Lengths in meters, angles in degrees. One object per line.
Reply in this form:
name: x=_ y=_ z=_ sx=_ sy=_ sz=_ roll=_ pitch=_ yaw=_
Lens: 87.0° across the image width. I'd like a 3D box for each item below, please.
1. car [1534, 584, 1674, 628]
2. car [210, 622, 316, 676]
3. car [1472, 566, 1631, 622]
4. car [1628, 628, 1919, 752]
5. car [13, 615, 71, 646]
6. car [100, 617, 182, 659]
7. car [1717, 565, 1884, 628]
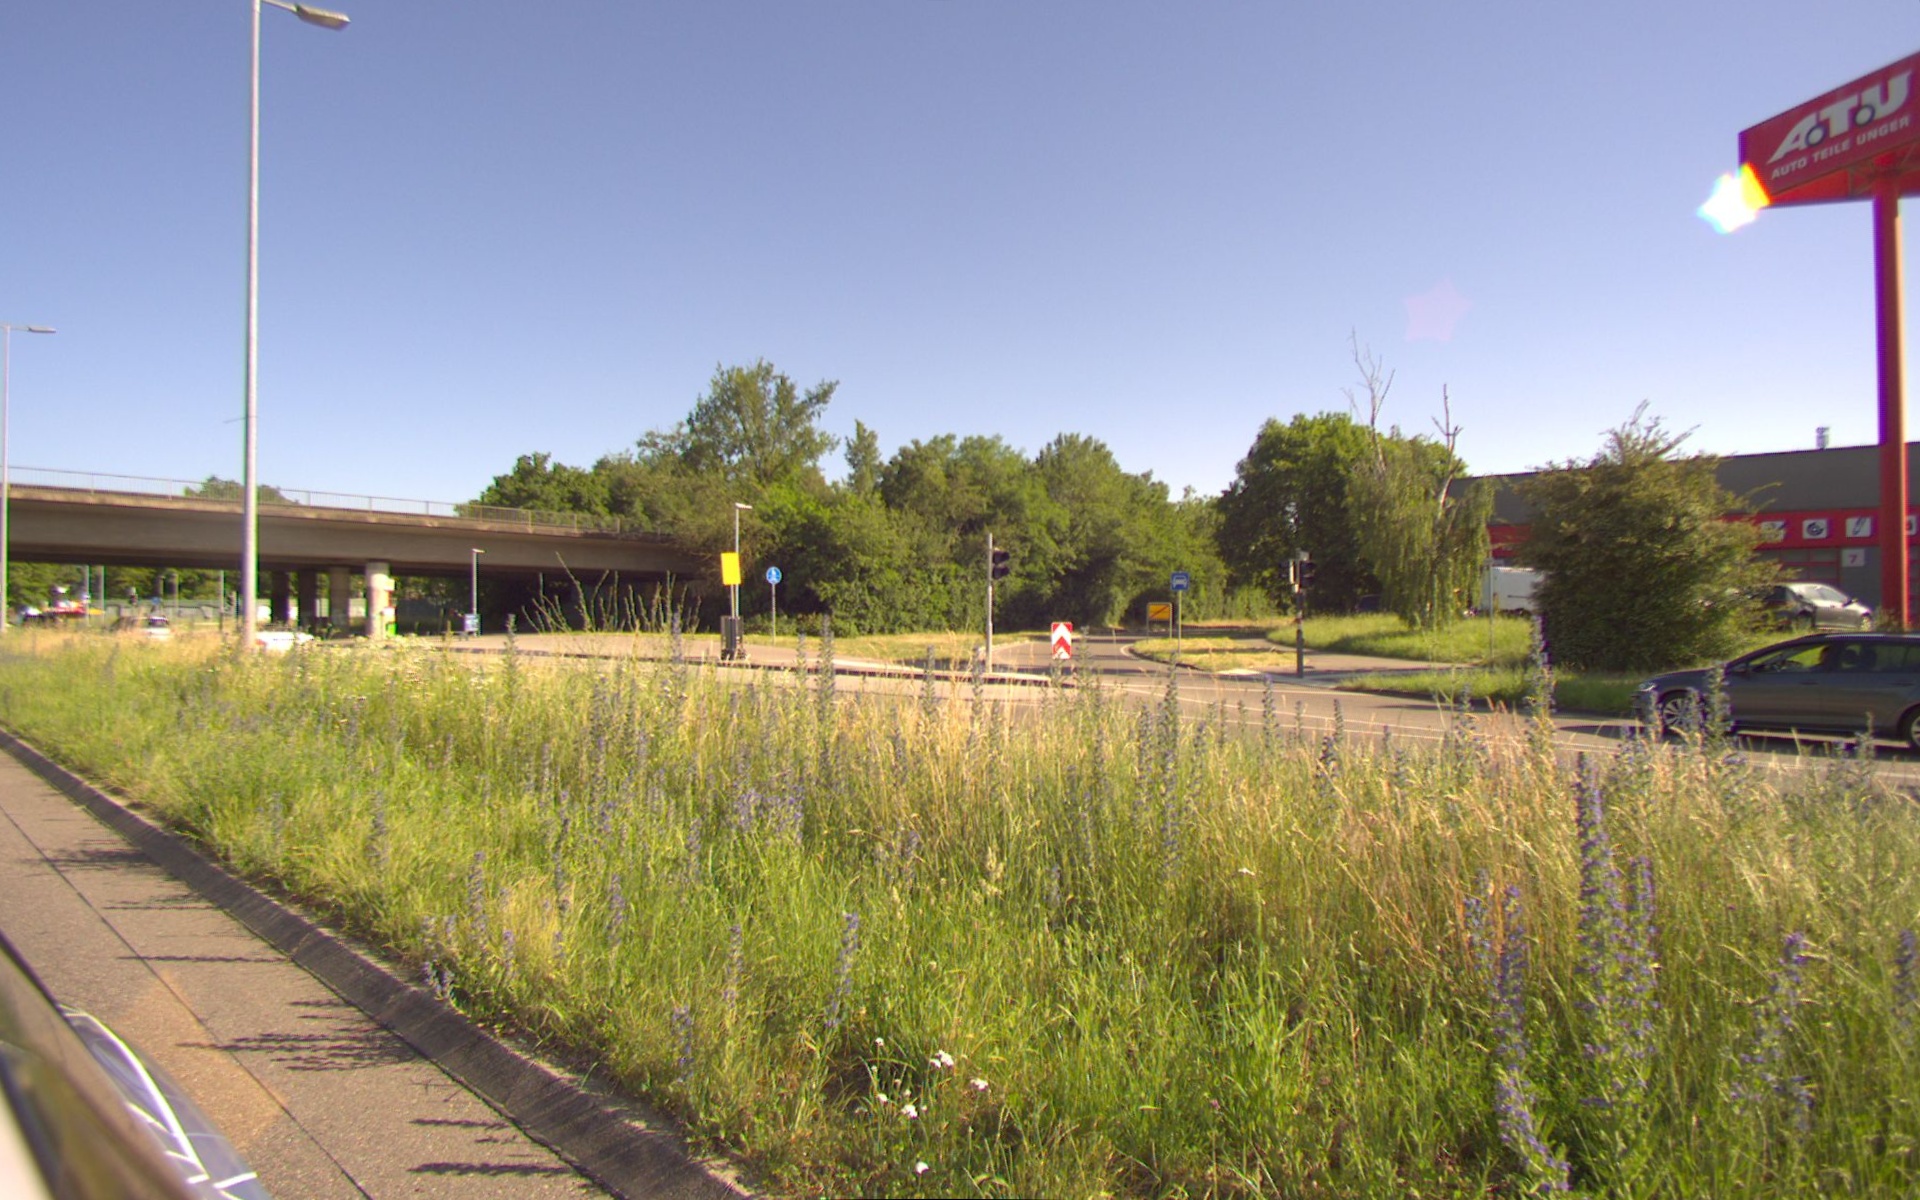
car: x=22.441 y=0.240 z=35.311 sx=4.061 sy=1.466 sz=1.901 roll=0 pitch=-1 yaw=-16
car: x=-20.366 y=1.378 z=29.509 sx=4.102 sy=1.455 sz=1.615 roll=-1 pitch=-1 yaw=42
car: x=23.253 y=-0.203 z=39.975 sx=4.990 sy=2.168 sz=1.890 roll=0 pitch=-1 yaw=10
car: x=11.451 y=1.107 z=13.063 sx=1.756 sy=1.436 sz=4.392 roll=2 pitch=-2 yaw=-35
car: x=-47.301 y=1.533 z=52.112 sx=3.587 sy=1.541 sz=1.617 roll=-1 pitch=-1 yaw=38
car: x=-31.553 y=1.414 z=38.971 sx=3.586 sy=1.541 sz=1.618 roll=-1 pitch=-1 yaw=36
car: x=22.307 y=-0.051 z=26.849 sx=4.060 sy=1.563 sz=1.902 roll=1 pitch=-1 yaw=-26
